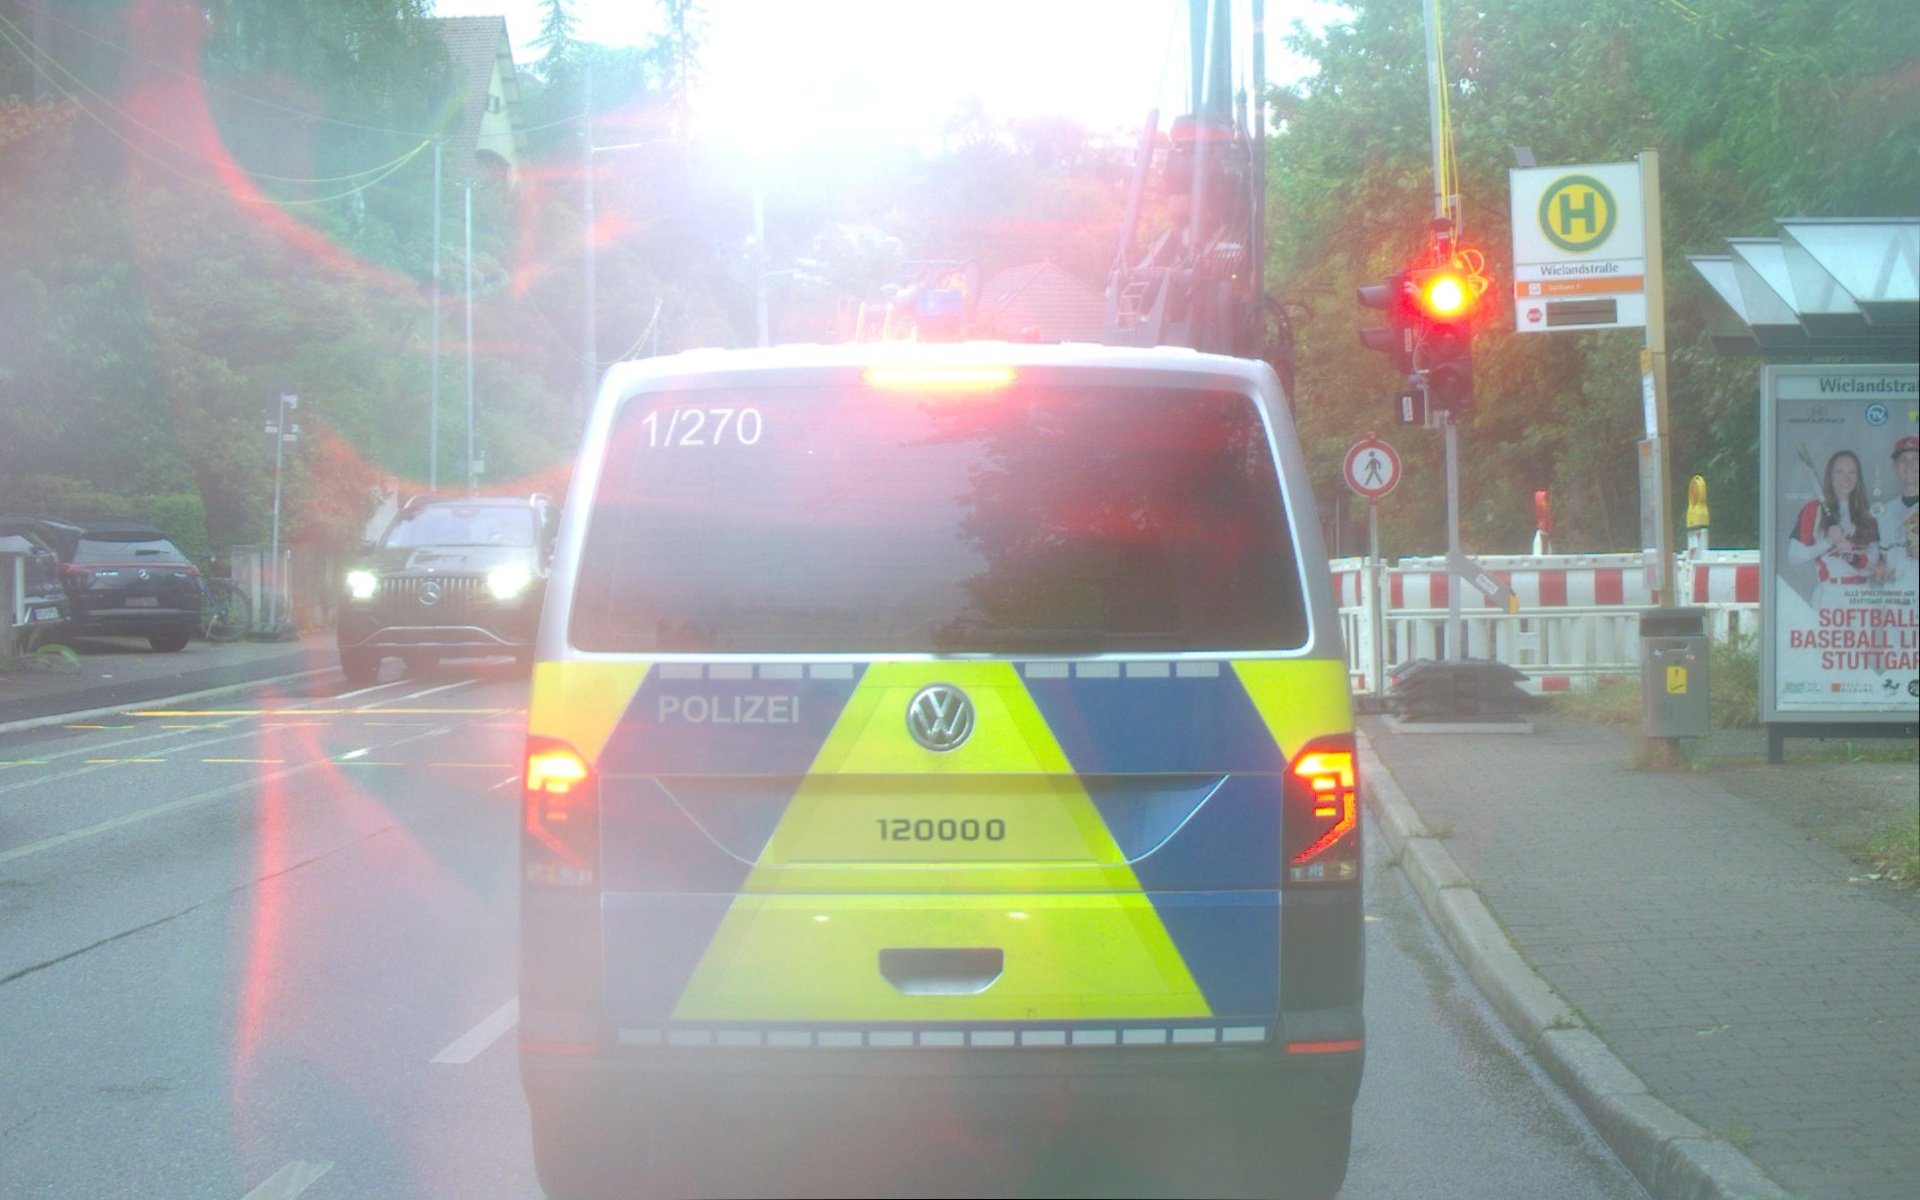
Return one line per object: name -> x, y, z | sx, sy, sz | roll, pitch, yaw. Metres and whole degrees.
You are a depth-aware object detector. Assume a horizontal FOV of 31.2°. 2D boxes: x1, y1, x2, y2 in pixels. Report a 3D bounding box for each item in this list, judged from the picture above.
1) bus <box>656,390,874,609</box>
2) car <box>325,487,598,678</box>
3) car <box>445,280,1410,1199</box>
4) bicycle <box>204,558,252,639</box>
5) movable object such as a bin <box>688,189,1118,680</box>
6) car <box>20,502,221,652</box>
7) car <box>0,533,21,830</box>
bus -> -3.482, -1.846, 64.629 | 2.841, 3.705, 12.005 | 1, 1, 3
car -> -4.863, -0.223, 34.154 | 1.979, 1.742, 4.553 | 1, 1, 1
car -> -0.089, 0.359, 8.836 | 1.893, 2.043, 4.000 | 1, 1, -1
bicycle -> -8.437, -0.024, 39.596 | 0.462, 0.894, 1.634 | 0, 1, -15
movable object such as a bin -> -0.416, -1.463, 31.635 | 2.832, 4.163, 4.378 | 1, 1, 15
car -> -9.319, -0.283, 37.979 | 1.765, 1.481, 3.743 | 1, 3, -20
car -> -5.661, 0.444, 15.279 | 1.764, 1.458, 3.886 | 0, 1, 2
